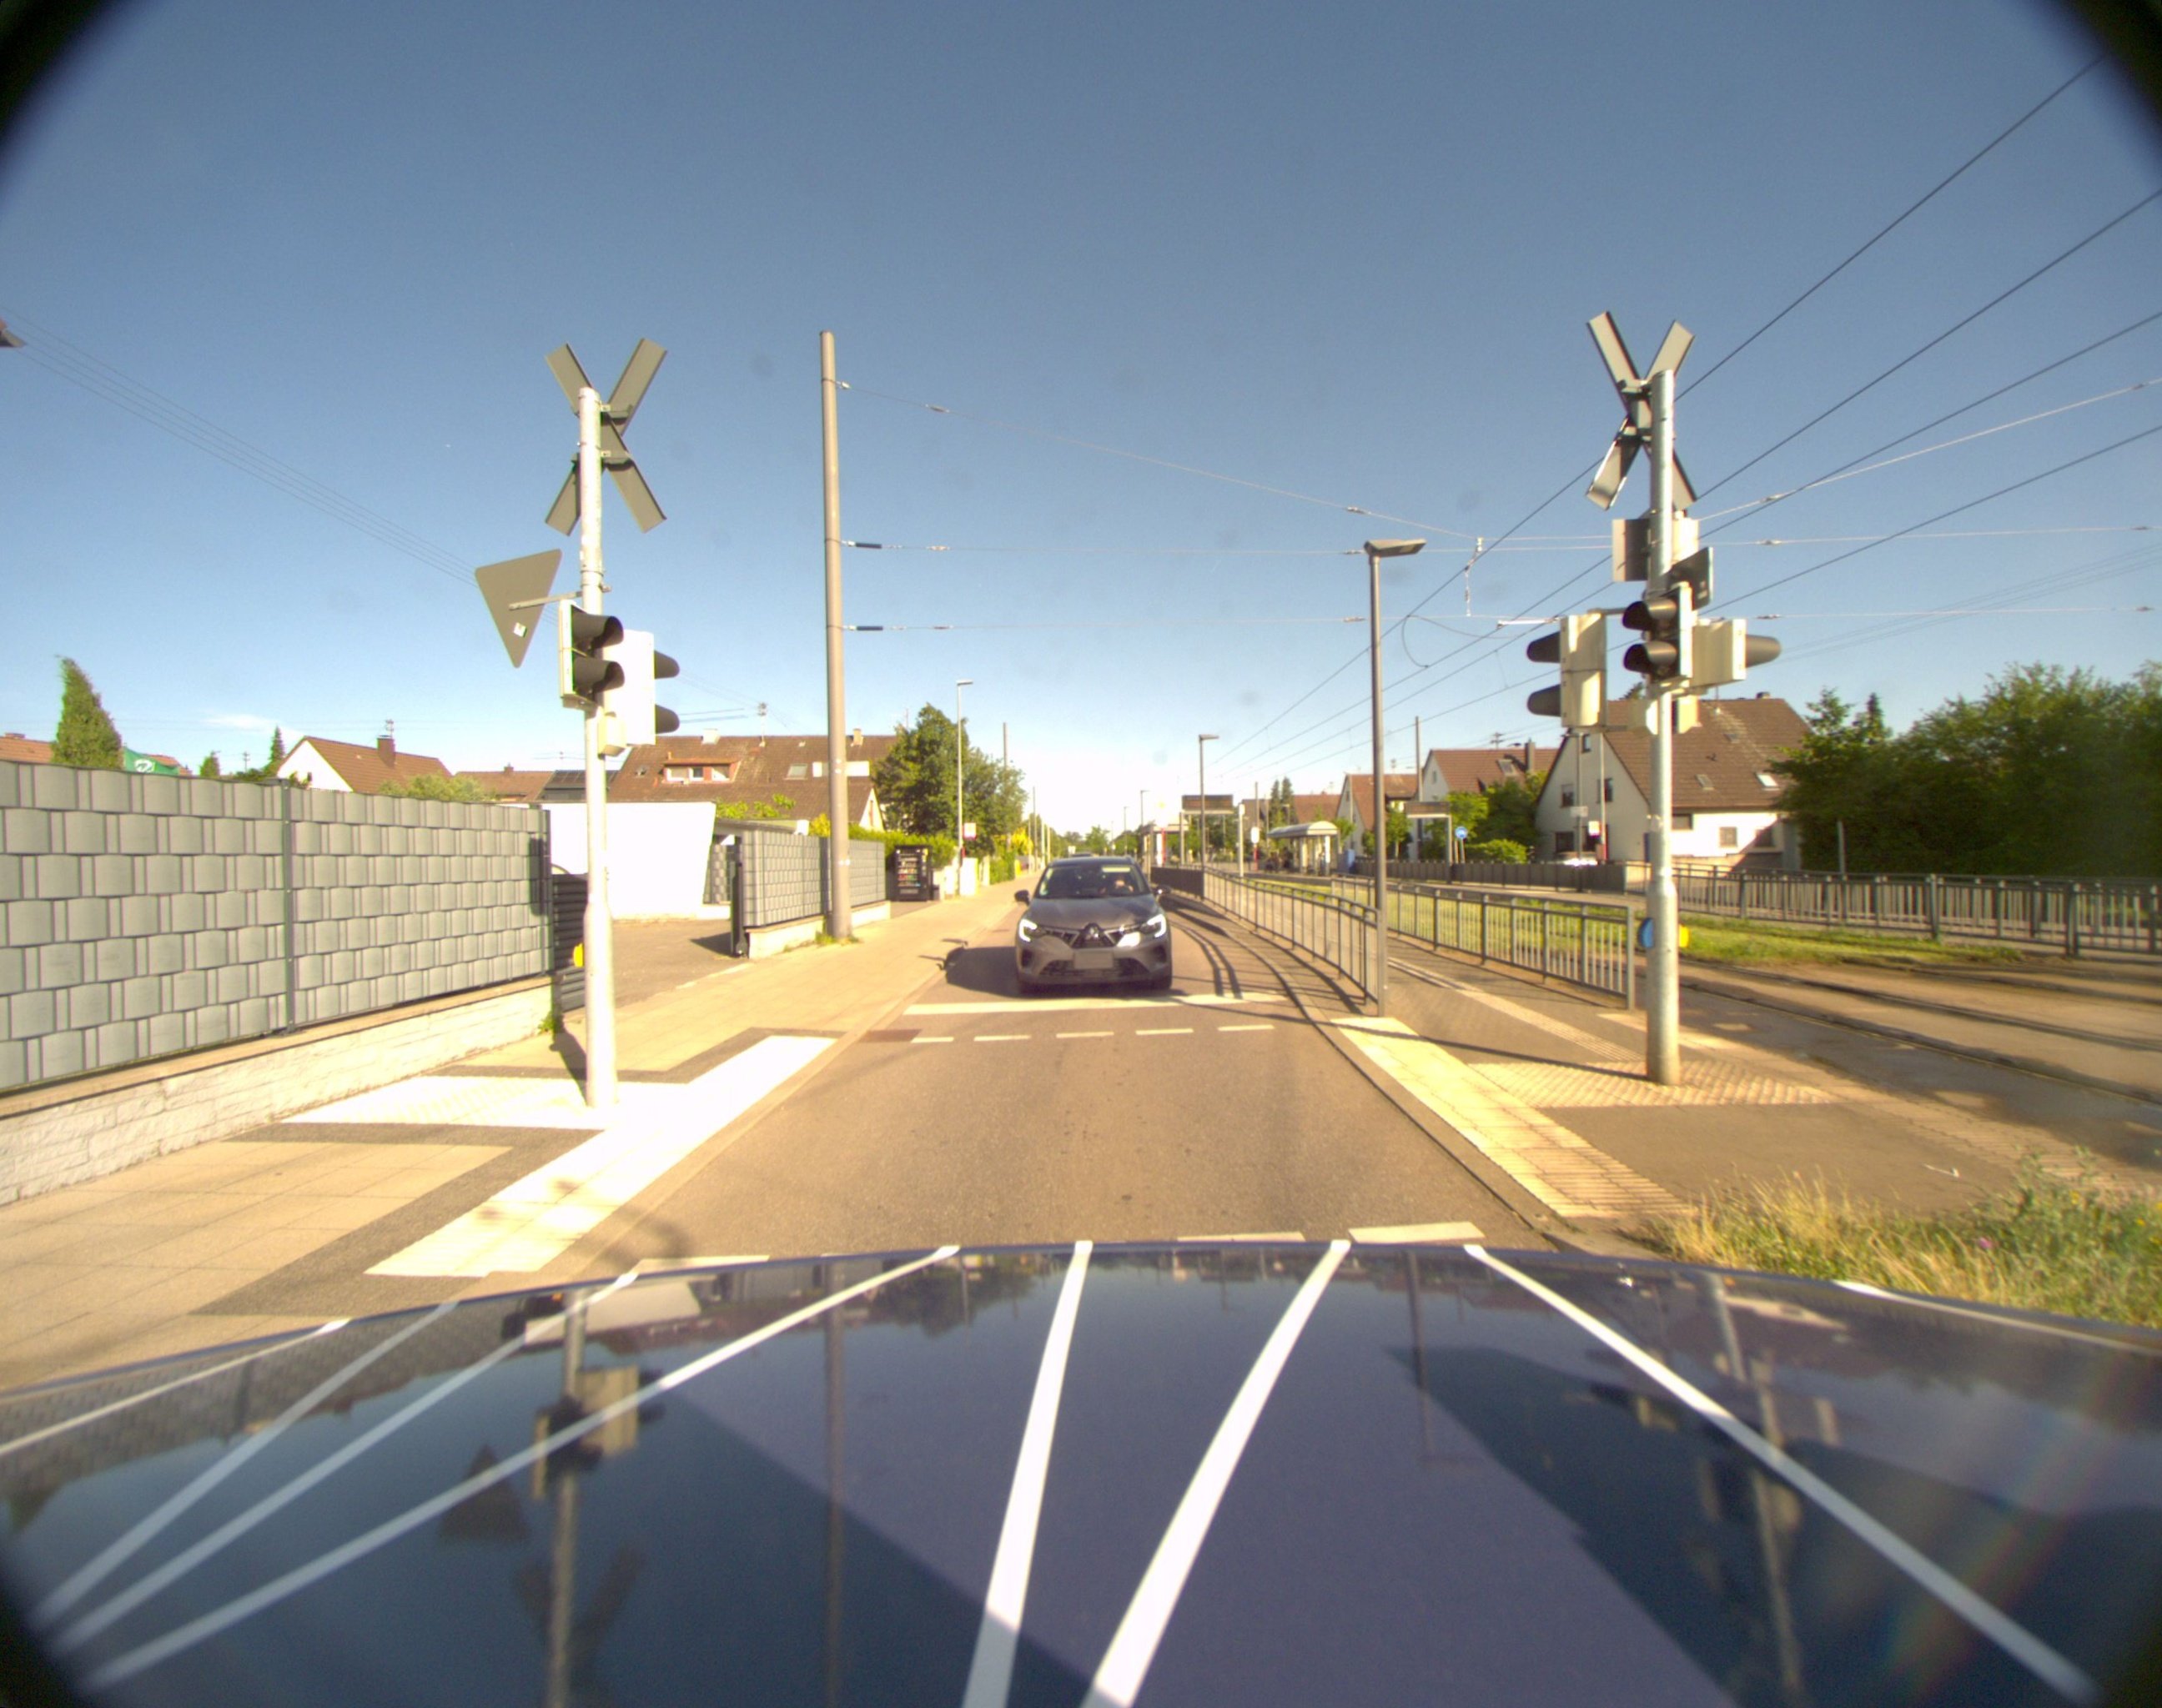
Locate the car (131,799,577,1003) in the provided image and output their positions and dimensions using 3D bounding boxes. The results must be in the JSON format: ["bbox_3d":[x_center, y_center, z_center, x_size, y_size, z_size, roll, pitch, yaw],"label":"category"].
[{"bbox_3d":[-9.954,0.572,10.536,4.983,2.418,2.002,-1,2,14],"label":"car"}]

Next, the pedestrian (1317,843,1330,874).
[{"bbox_3d":[13.692,0.250,42.882,0.622,1.742,0.442,-1,0,20],"label":"pedestrian"}]

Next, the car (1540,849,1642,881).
[{"bbox_3d":[26.501,0.568,39.560,3.989,1.526,1.999,-1,0,-3],"label":"car"}]

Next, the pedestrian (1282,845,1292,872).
[{"bbox_3d":[13.571,0.308,50.100,0.534,1.742,0.543,-1,0,0],"label":"pedestrian"}]

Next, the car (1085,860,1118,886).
[{"bbox_3d":[1.160,1.051,43.165,1.687,1.379,4.000,-2,0,1],"label":"car"}]

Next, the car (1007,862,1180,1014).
[{"bbox_3d":[0.087,0.932,10.275,1.830,1.570,4.000,-2,0,-1],"label":"car"}]

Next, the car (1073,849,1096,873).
[{"bbox_3d":[0.361,0.666,73.949,2.089,2.226,4.722,-2,0,1],"label":"car"}]
